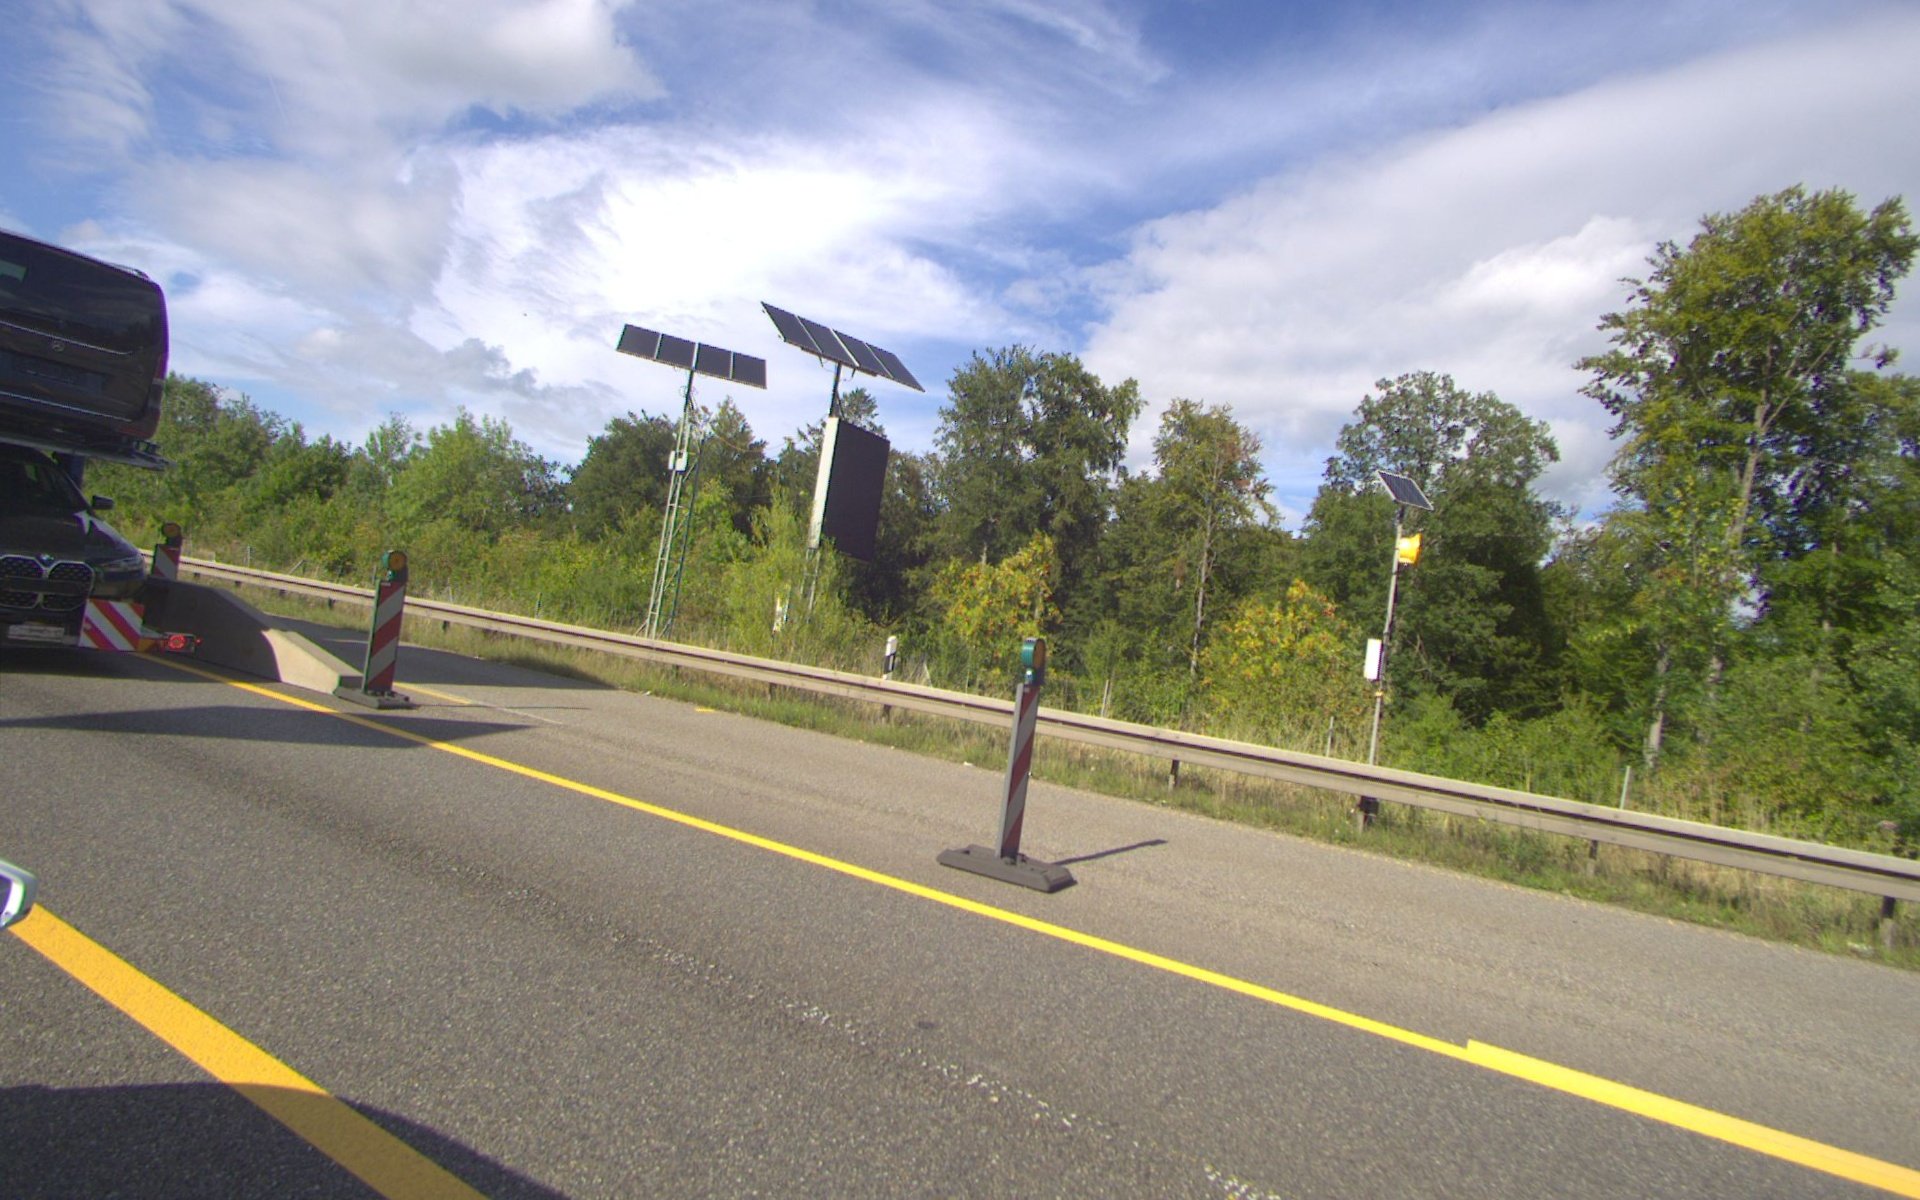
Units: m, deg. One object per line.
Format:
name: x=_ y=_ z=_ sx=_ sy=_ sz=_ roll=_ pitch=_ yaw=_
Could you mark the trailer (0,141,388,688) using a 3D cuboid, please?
trailer: x=-13.971 y=-2.149 z=13.076 sx=15.956 sy=4.245 sz=3.734 roll=7 pitch=-2 yaw=31
